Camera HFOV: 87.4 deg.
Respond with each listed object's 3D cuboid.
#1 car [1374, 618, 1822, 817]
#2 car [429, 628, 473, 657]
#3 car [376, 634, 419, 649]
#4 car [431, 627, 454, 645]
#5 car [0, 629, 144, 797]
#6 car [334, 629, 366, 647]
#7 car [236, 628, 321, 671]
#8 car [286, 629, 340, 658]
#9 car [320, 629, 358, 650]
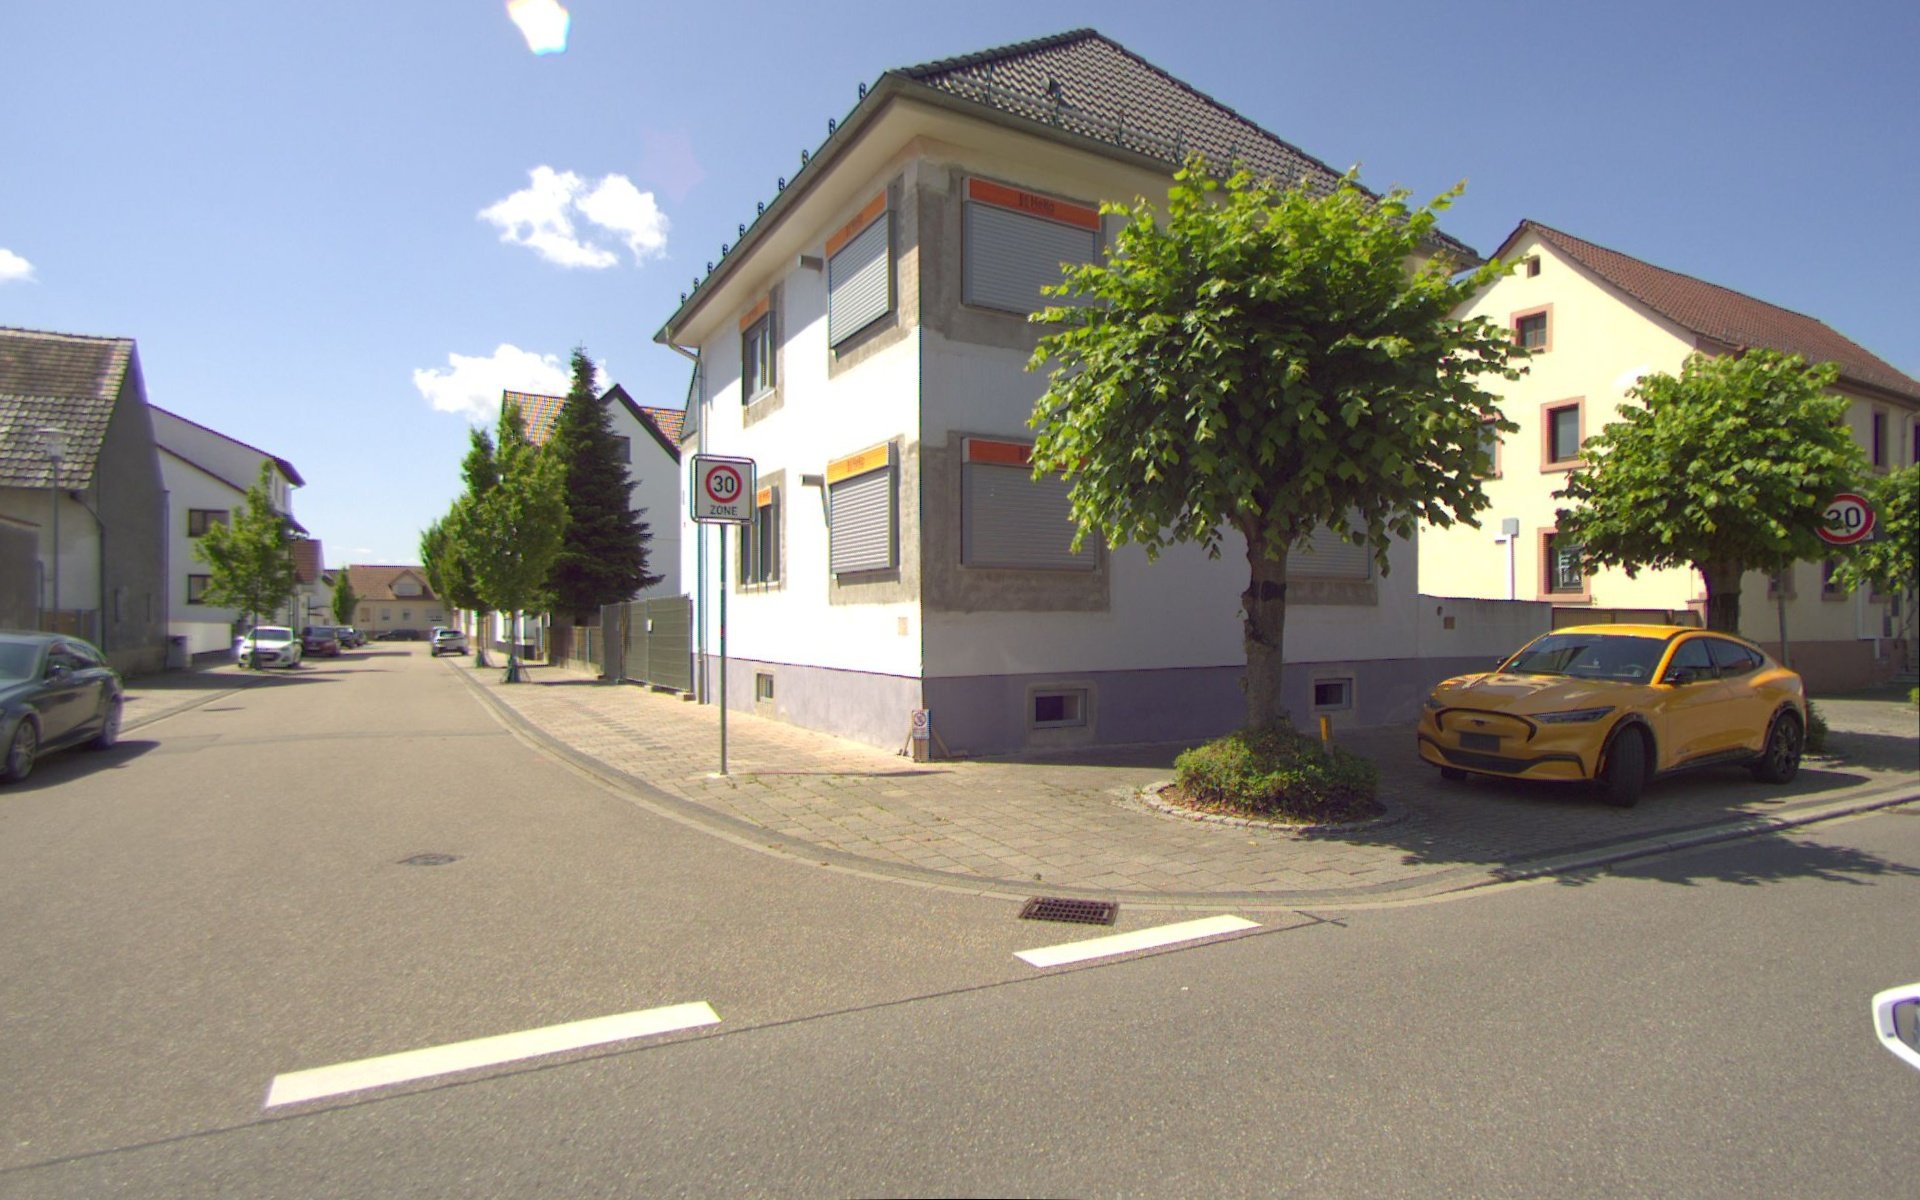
[{"bbox_3d":[6.724,1.043,10.494,4.631,1.633,1.985,1,0,-29],"label":"car"},{"bbox_3d":[-27.674,2.271,54.739,1.974,1.468,4.323,3,-2,-26],"label":"car"},{"bbox_3d":[-64.295,4.756,114.843,4.211,1.644,1.985,2,0,-29],"label":"car"},{"bbox_3d":[-45.504,3.158,88.301,1.734,1.468,3.245,3,-2,-28],"label":"car"},{"bbox_3d":[-10.425,1.058,10.462,1.974,1.468,4.323,3,-2,-26],"label":"car"},{"bbox_3d":[-50.409,3.092,83.107,1.944,1.392,4.320,3,-2,-28],"label":"car"},{"bbox_3d":[-25.544,1.827,37.787,1.974,1.468,4.323,3,-2,-26],"label":"car"},{"bbox_3d":[-34.307,2.289,53.390,1.975,1.468,4.320,3,-2,-28],"label":"car"},{"bbox_3d":[-44.323,2.820,71.733,1.944,1.392,4.320,3,-2,-28],"label":"car"}]
